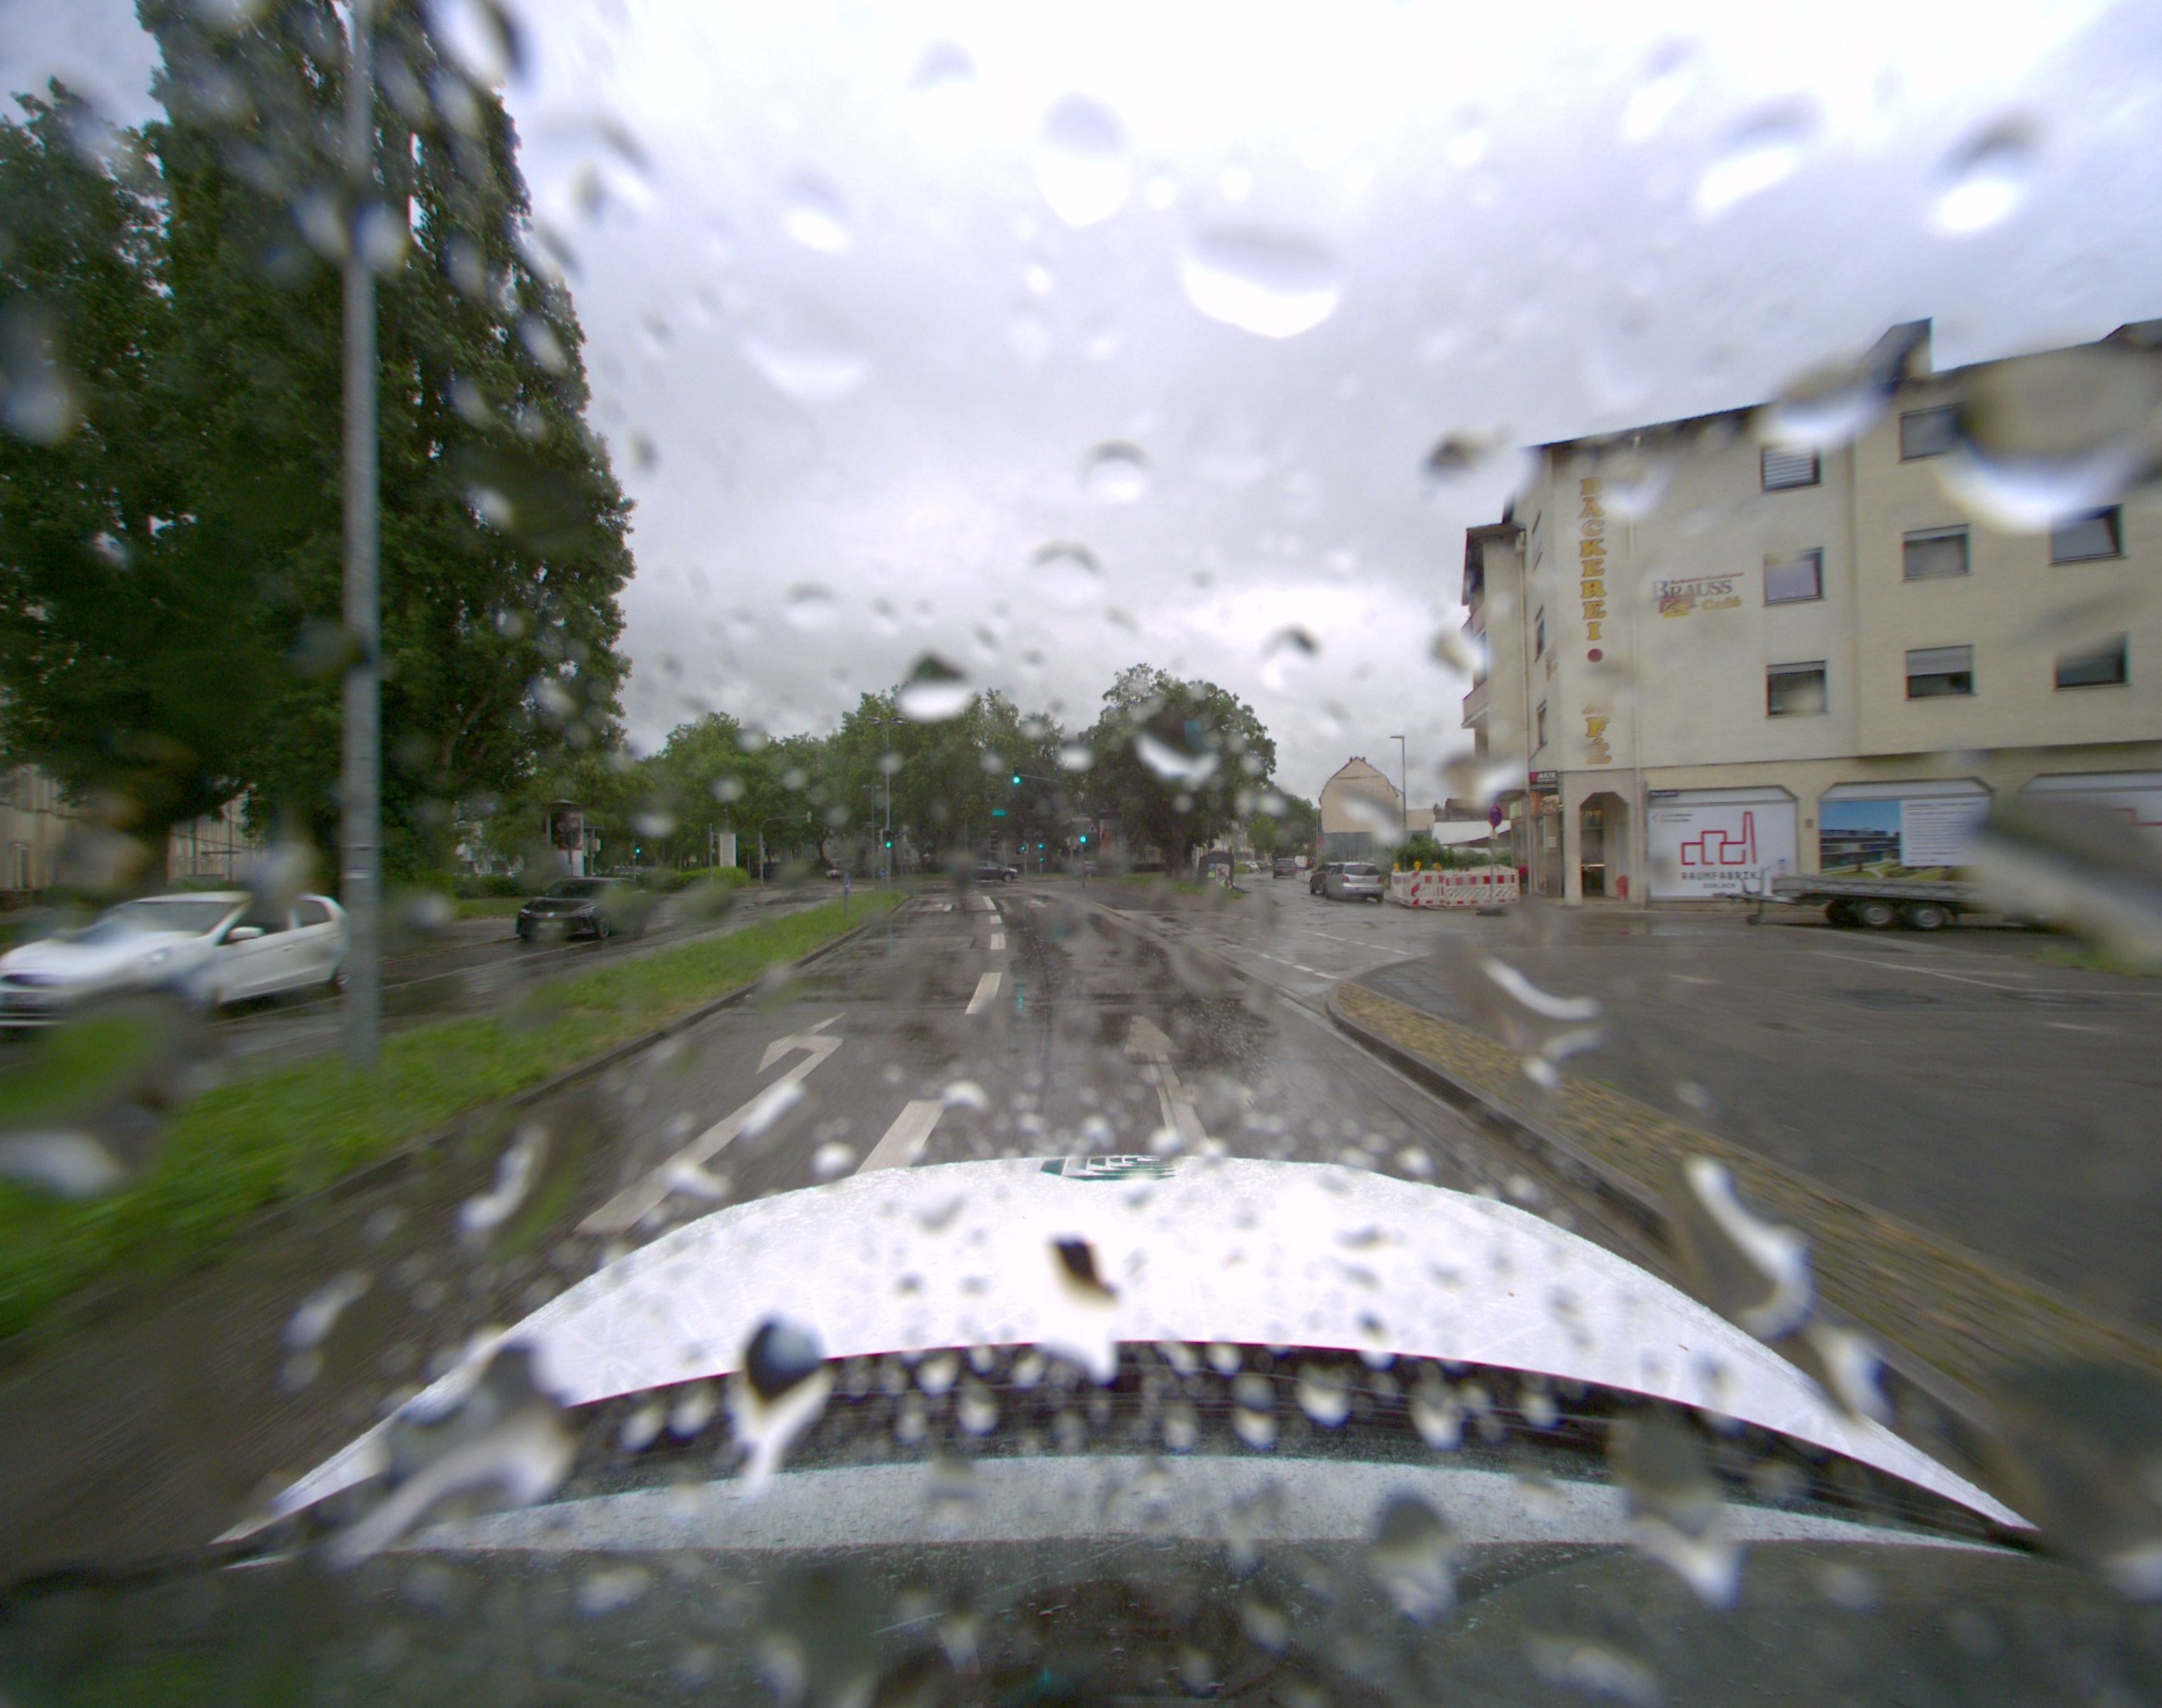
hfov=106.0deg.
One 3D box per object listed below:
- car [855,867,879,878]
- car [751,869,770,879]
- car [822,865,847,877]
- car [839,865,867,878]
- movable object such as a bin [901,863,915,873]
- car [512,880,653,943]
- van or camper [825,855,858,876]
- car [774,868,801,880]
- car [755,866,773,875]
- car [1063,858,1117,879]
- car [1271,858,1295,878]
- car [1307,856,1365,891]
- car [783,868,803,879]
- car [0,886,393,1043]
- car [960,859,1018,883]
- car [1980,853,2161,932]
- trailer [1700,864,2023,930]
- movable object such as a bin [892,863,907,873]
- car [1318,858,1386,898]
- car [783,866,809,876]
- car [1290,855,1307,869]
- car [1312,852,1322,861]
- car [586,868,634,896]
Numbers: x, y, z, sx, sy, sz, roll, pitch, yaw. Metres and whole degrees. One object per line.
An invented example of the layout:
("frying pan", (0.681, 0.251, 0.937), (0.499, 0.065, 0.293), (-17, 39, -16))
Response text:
("car", (-26.792, 2.283, 101.931), (1.560, 1.390, 4.104), (0, -1, -35))
("car", (-56.414, 3.509, 143.287), (1.931, 1.620, 4.320), (0, -2, -38))
("car", (-30.331, 2.107, 100.209), (1.720, 1.411, 3.603), (-3, 1, -37))
("car", (-29.596, 2.270, 105.577), (1.931, 1.620, 4.402), (0, -3, -38))
("movable object such as a bin", (-25.652, 2.098, 120.792), (1.839, 1.433, 1.224), (-1, -2, 35))
("car", (-12.466, 1.377, 20.683), (1.544, 1.397, 4.180), (1, -1, -9))
("van or camper", (-33.484, 1.668, 113.628), (2.336, 2.807, 6.788), (0, -2, -35))
("car", (-48.447, 3.278, 134.474), (1.815, 1.697, 3.891), (-1, 1, 25))
("car", (-50.072, 2.590, 128.713), (1.720, 1.411, 3.603), (-3, 1, -37))
("car", (0.745, 1.161, 65.182), (4.111, 1.602, 1.975), (1, -2, -44))
("car", (17.094, 1.209, 68.947), (1.841, 1.654, 4.319), (-1, -1, 12))
("car", (11.312, 0.857, 36.364), (1.689, 1.433, 4.163), (-1, -1, 6))
("car", (-41.276, 2.765, 116.666), (1.720, 1.411, 3.603), (-3, 1, -37))
("car", (-10.905, 1.190, 10.227), (1.602, 1.474, 4.107), (0, -1, -11))
("car", (-6.990, 1.302, 61.557), (4.289, 1.744, 1.994), (0, -1, -9))
("car", (19.945, 0.697, 15.146), (3.952, 1.403, 1.747), (-1, -1, 23))
("trailer", (15.868, 0.851, 16.920), (4.478, 1.232, 1.835), (-1, -1, 25))
("movable object such as a bin", (-27.203, 2.141, 121.890), (1.839, 1.433, 1.224), (-1, -2, 35))
("car", (10.344, 0.911, 31.353), (1.626, 1.433, 4.183), (-1, -1, 6))
("car", (-46.125, 2.716, 131.885), (1.781, 1.601, 3.789), (-1, -1, 23))
("car", (34.805, 1.264, 130.108), (2.331, 2.208, 4.634), (-1, -1, 19))
("car", (52.794, 0.642, 182.042), (1.977, 2.014, 4.018), (-1, -1, 18))
("car", (-30.565, 1.786, 52.816), (1.793, 1.686, 3.975), (-1, -1, -44))
